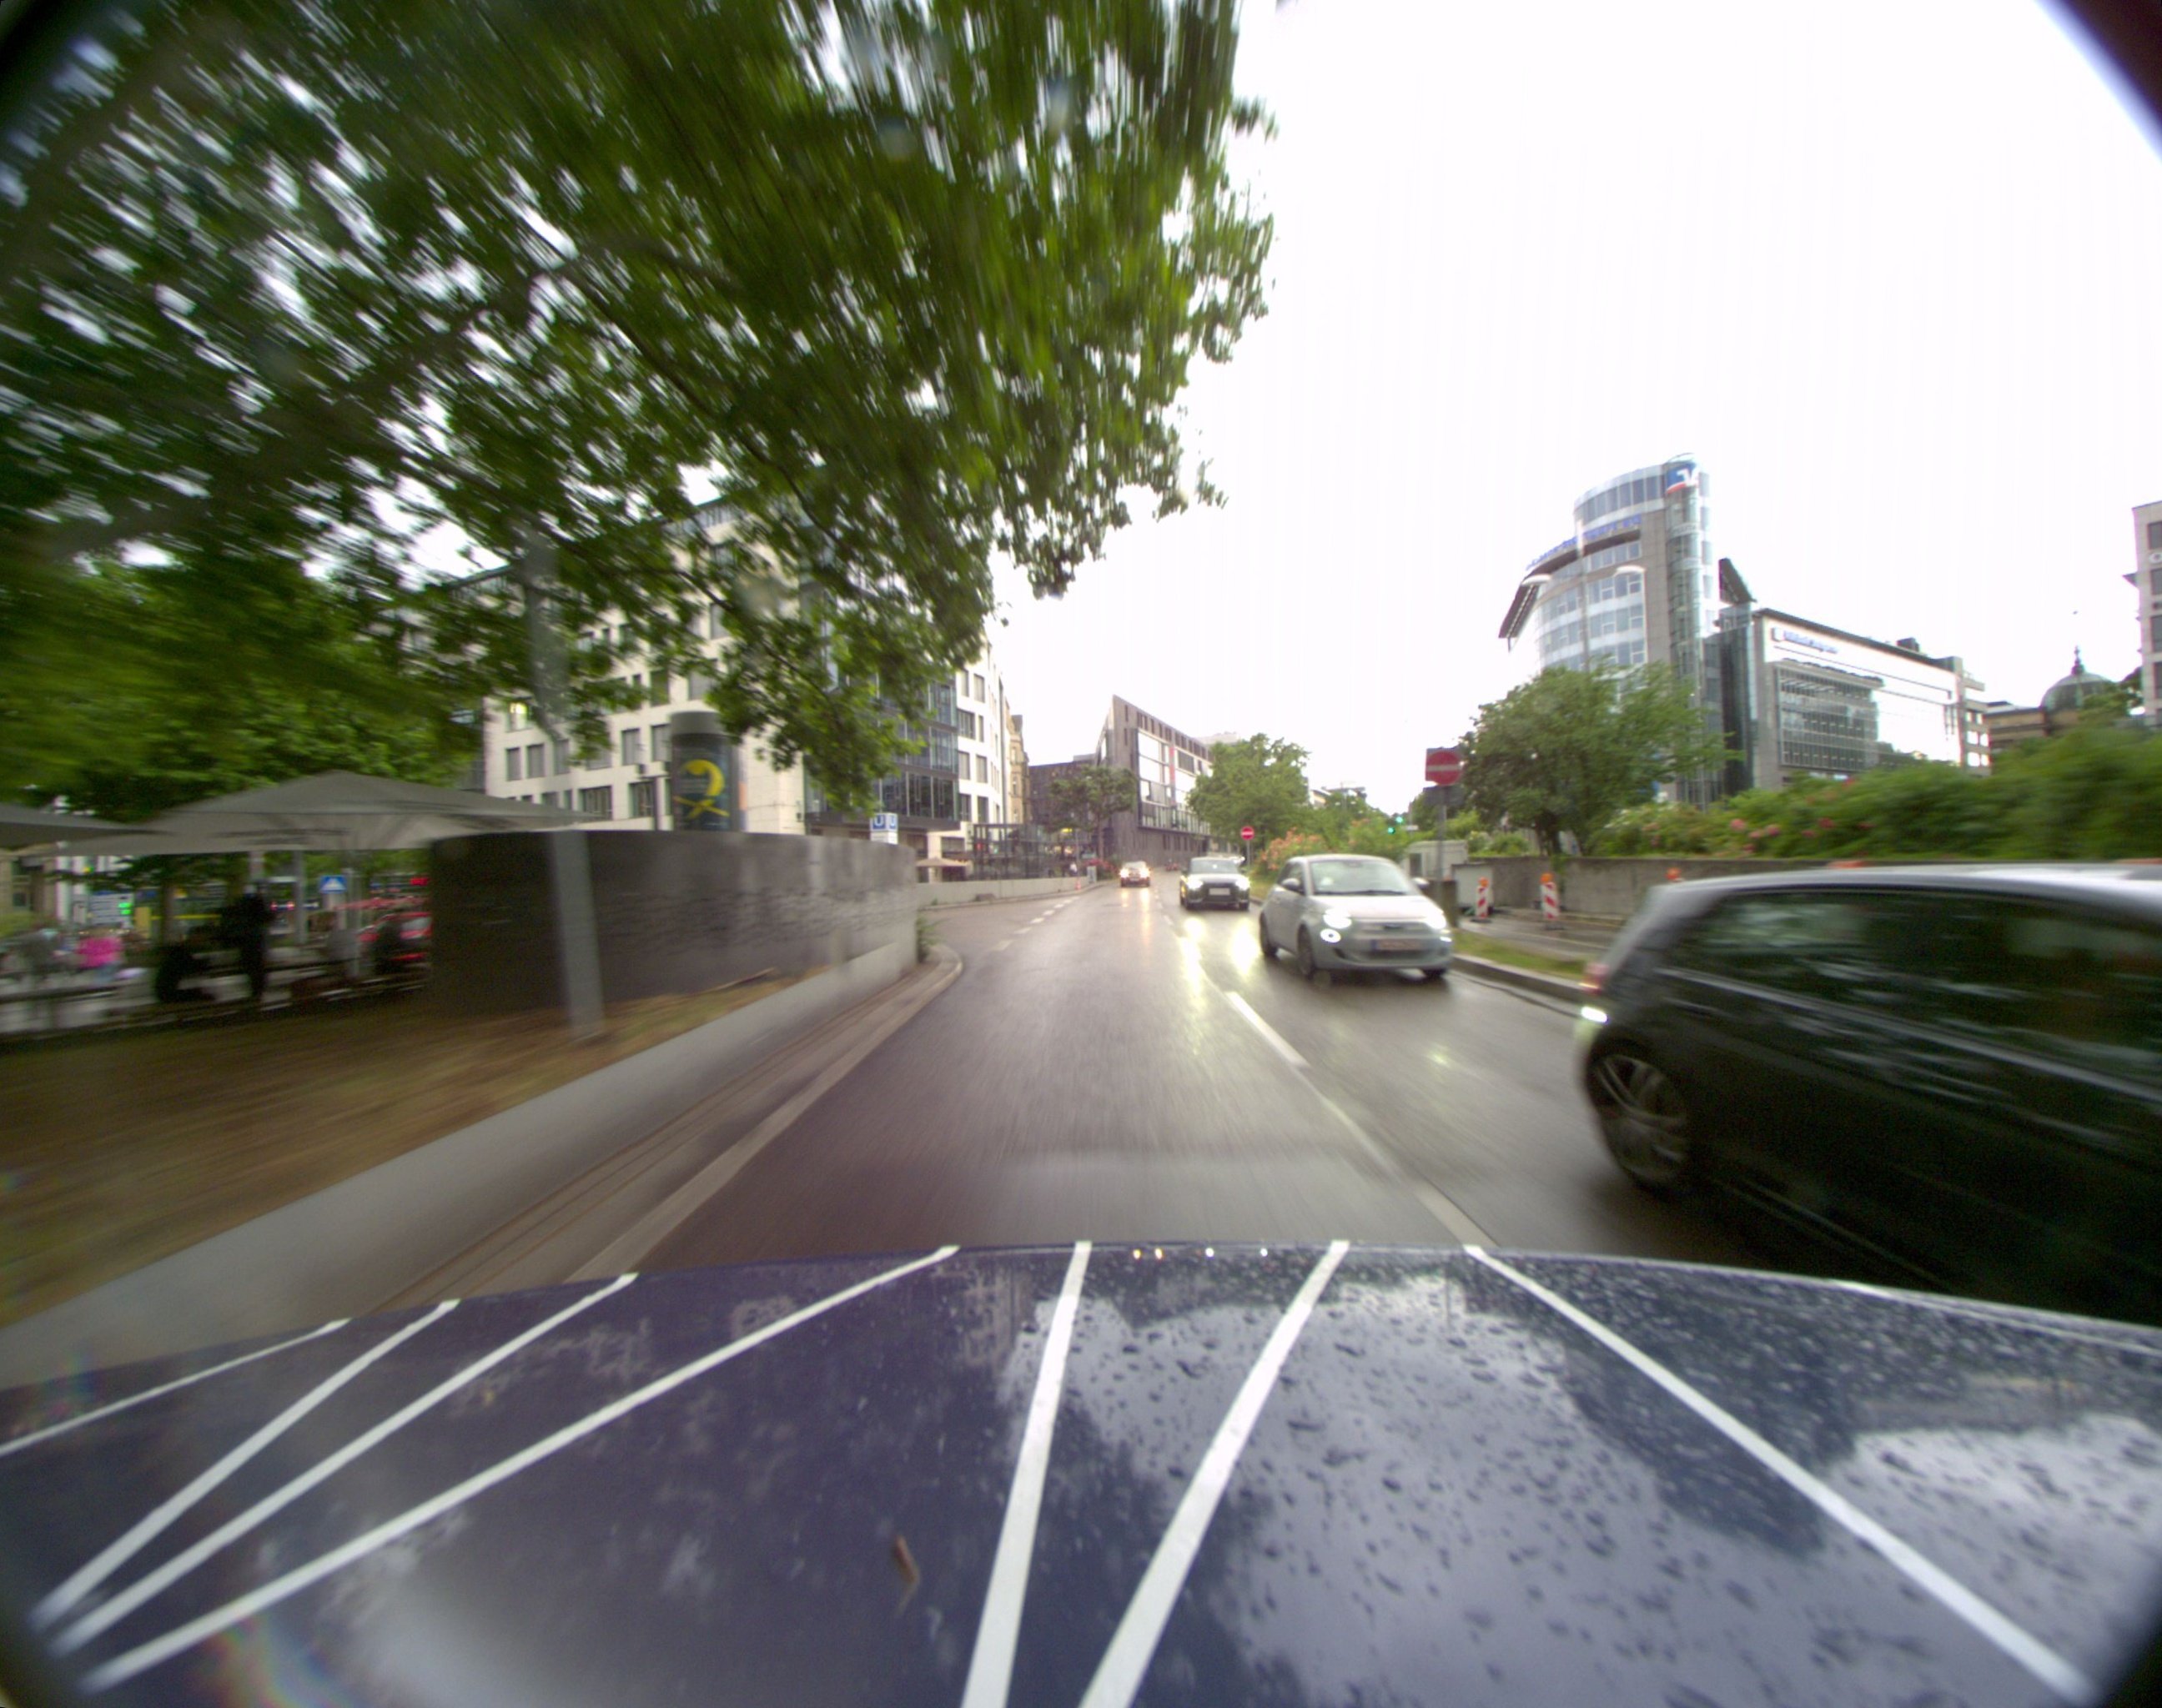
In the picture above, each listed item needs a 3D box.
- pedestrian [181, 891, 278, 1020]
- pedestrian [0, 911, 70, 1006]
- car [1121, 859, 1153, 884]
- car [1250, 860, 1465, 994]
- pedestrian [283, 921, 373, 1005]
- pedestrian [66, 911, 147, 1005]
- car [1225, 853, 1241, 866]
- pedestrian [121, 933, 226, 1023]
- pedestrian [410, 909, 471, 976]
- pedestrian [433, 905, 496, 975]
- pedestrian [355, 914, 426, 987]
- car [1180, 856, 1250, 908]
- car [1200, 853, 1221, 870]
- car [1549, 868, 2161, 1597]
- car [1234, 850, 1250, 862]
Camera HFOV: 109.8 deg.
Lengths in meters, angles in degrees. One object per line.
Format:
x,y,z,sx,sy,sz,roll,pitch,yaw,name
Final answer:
-8.966,1.045,8.021,0.531,1.269,0.403,-3,1,-31,pedestrian
-23.276,2.293,16.931,0.944,1.963,0.753,-1,1,42,pedestrian
3.251,0.974,43.760,1.716,1.274,3.495,-2,0,6,car
3.430,0.817,10.101,1.612,1.432,3.494,-1,0,1,car
-9.003,1.278,9.112,0.575,0.867,0.741,-2,1,-31,pedestrian
-22.250,2.332,17.381,0.944,1.963,0.997,-1,1,42,pedestrian
22.691,0.805,113.115,1.996,1.733,3.914,-3,0,16,car
-10.181,1.373,8.548,0.575,0.867,0.565,-2,1,-31,pedestrian
-9.223,1.266,10.961,0.575,0.867,0.508,-2,1,-31,pedestrian
-8.392,1.159,10.364,0.575,0.867,0.508,-2,1,-31,pedestrian
-9.183,1.274,10.125,0.575,0.867,0.508,-2,1,-31,pedestrian
4.041,0.809,23.413,1.716,1.432,3.495,-1,0,3,car
14.523,0.794,85.220,1.997,1.733,3.913,-3,0,13,car
3.180,0.832,1.619,1.789,1.444,4.123,-3,0,0,car
25.934,0.337,122.211,1.996,1.733,3.915,-3,0,20,car
